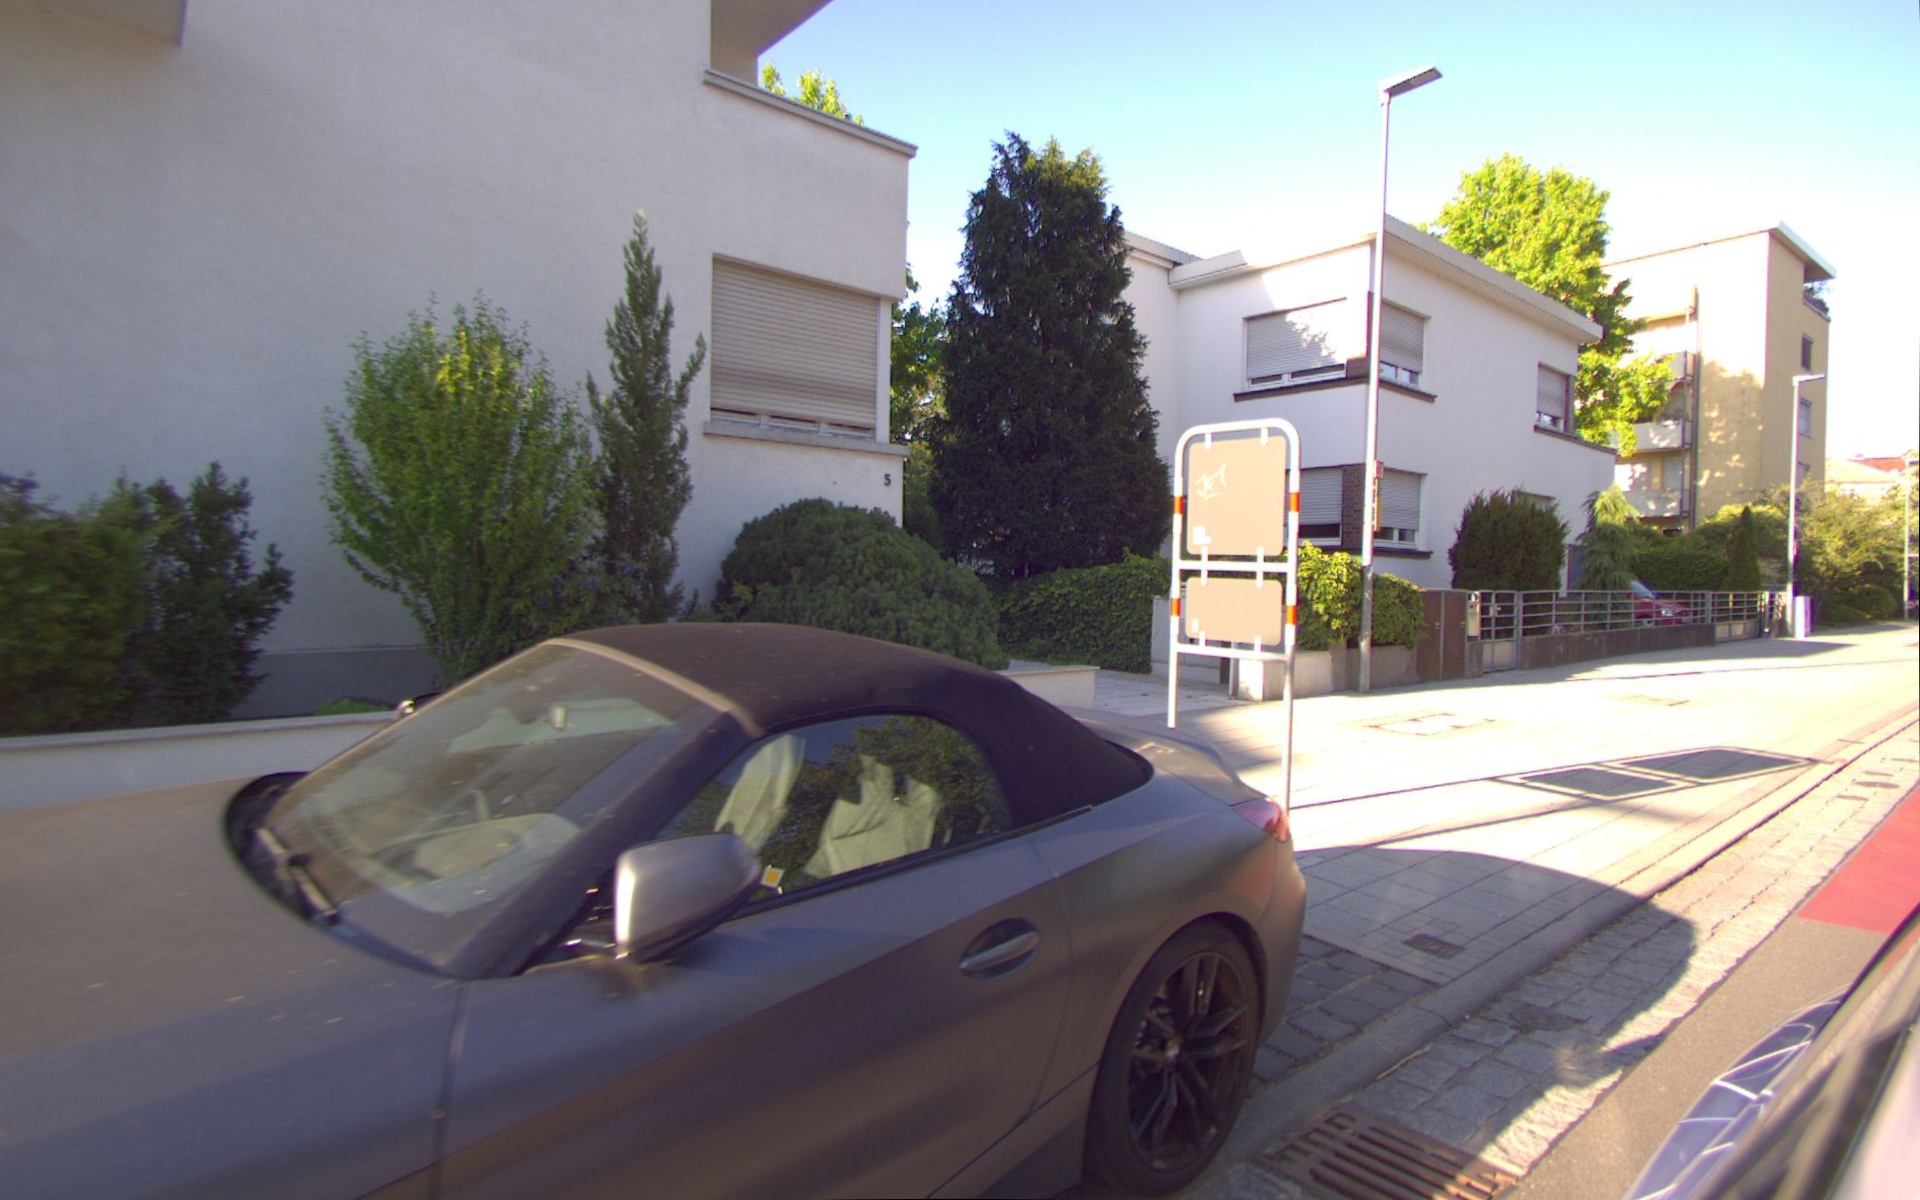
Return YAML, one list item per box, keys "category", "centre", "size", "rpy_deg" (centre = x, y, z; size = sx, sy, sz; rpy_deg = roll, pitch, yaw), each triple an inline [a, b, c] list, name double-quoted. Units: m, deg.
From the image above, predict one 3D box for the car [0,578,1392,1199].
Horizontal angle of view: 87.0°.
- category: "car"
  centre: [-0.943, 0.669, 2.277]
  size: [4.197, 1.304, 1.779]
  rpy_deg: [0, 4, -40]

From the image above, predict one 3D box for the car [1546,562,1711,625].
- category: "car"
  centre: [18.664, -0.217, 28.389]
  size: [1.611, 1.662, 3.507]
  rpy_deg: [-1, 2, -32]

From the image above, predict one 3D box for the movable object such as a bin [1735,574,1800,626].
- category: "movable object such as a bin"
  centre: [23.013, -0.028, 28.849]
  size: [1.103, 1.450, 1.240]
  rpy_deg: [-1, 1, -38]
